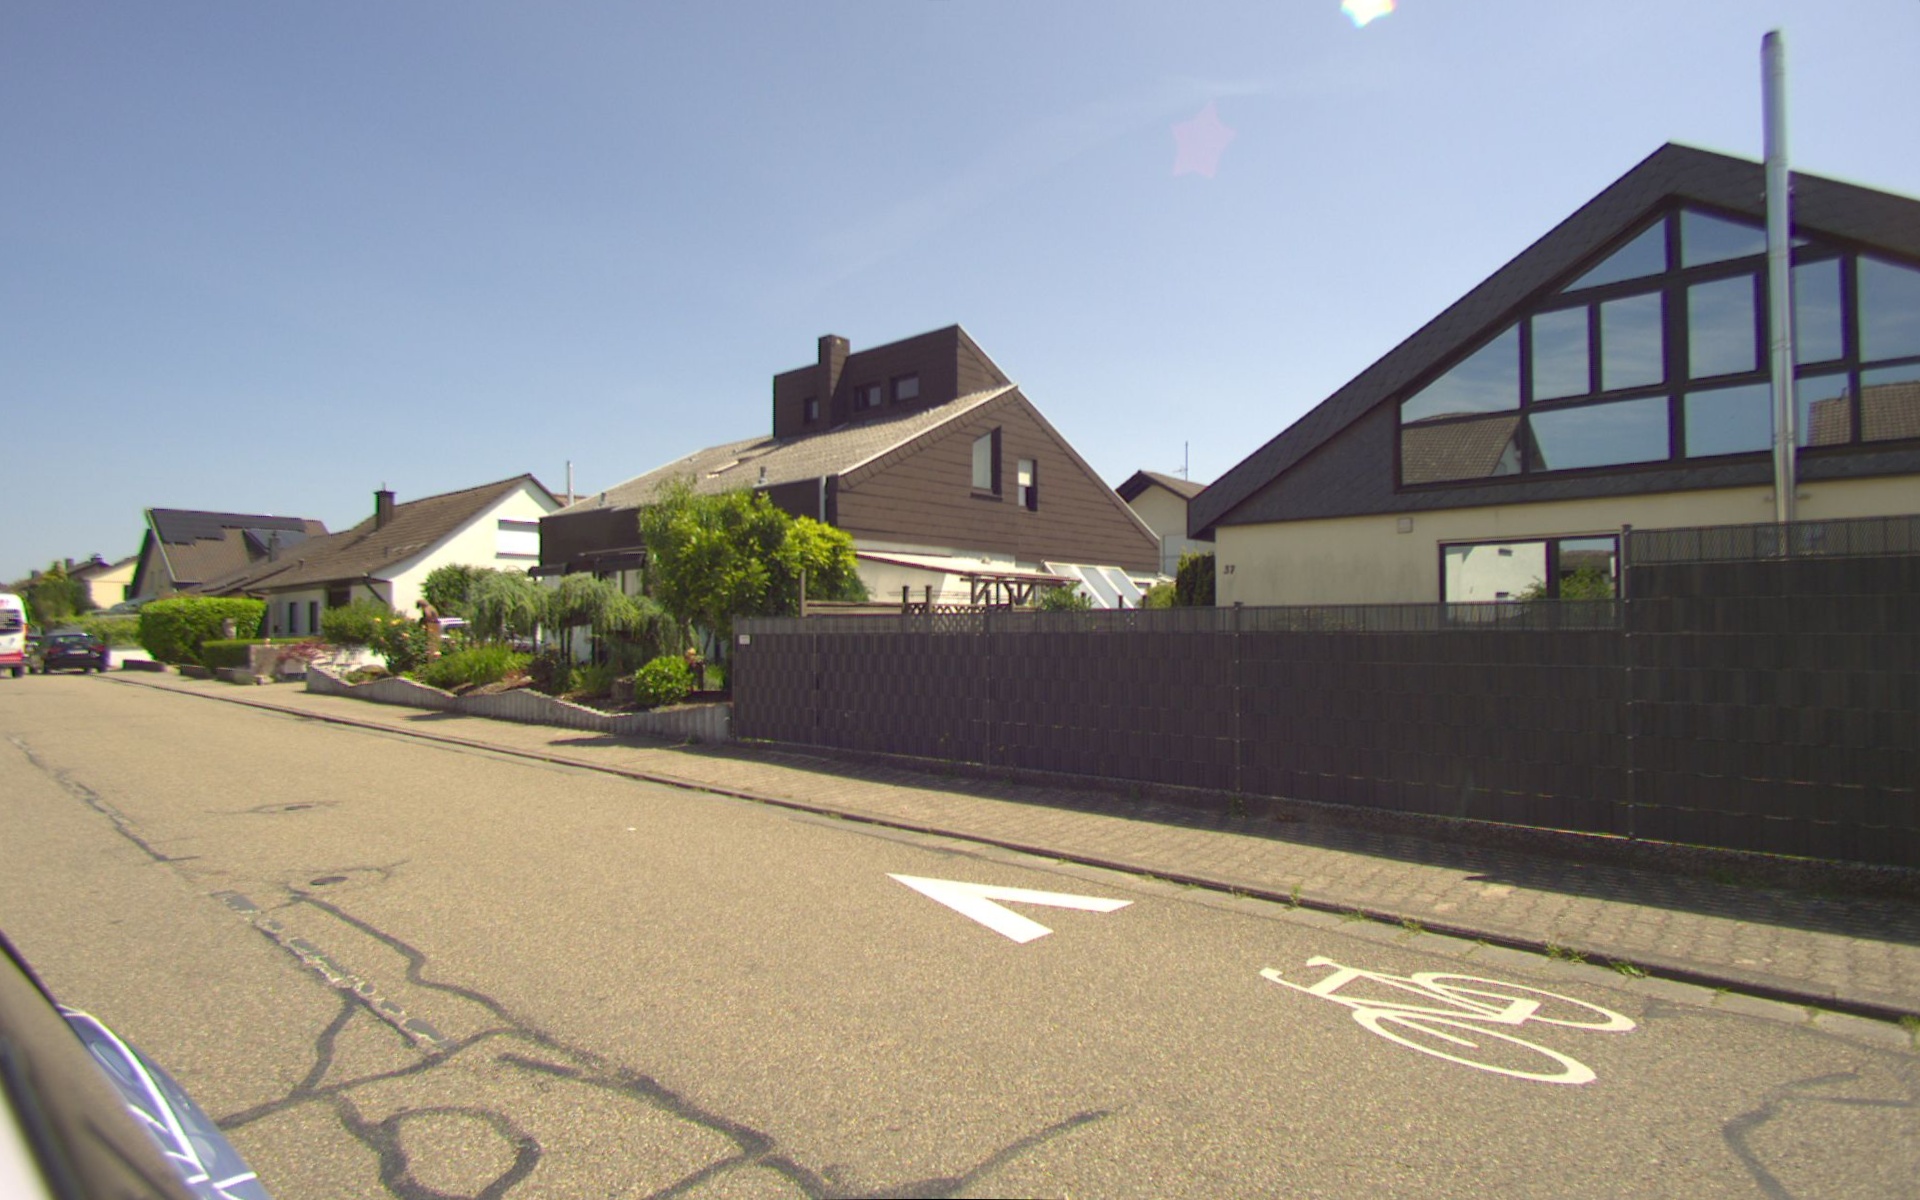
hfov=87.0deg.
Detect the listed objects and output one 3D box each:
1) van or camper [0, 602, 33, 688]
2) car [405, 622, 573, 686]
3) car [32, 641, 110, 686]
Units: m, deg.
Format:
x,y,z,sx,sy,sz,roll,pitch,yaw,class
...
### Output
x,y,z,sx,sy,sz,roll,pitch,yaw,class
-31.017,1.391,31.592,4.592,2.611,2.047,-1,-2,34,van or camper
-13.482,1.504,29.124,1.901,1.697,3.946,-2,-2,40,car
-31.227,2.189,35.516,1.782,1.409,4.002,1,-2,-45,car
